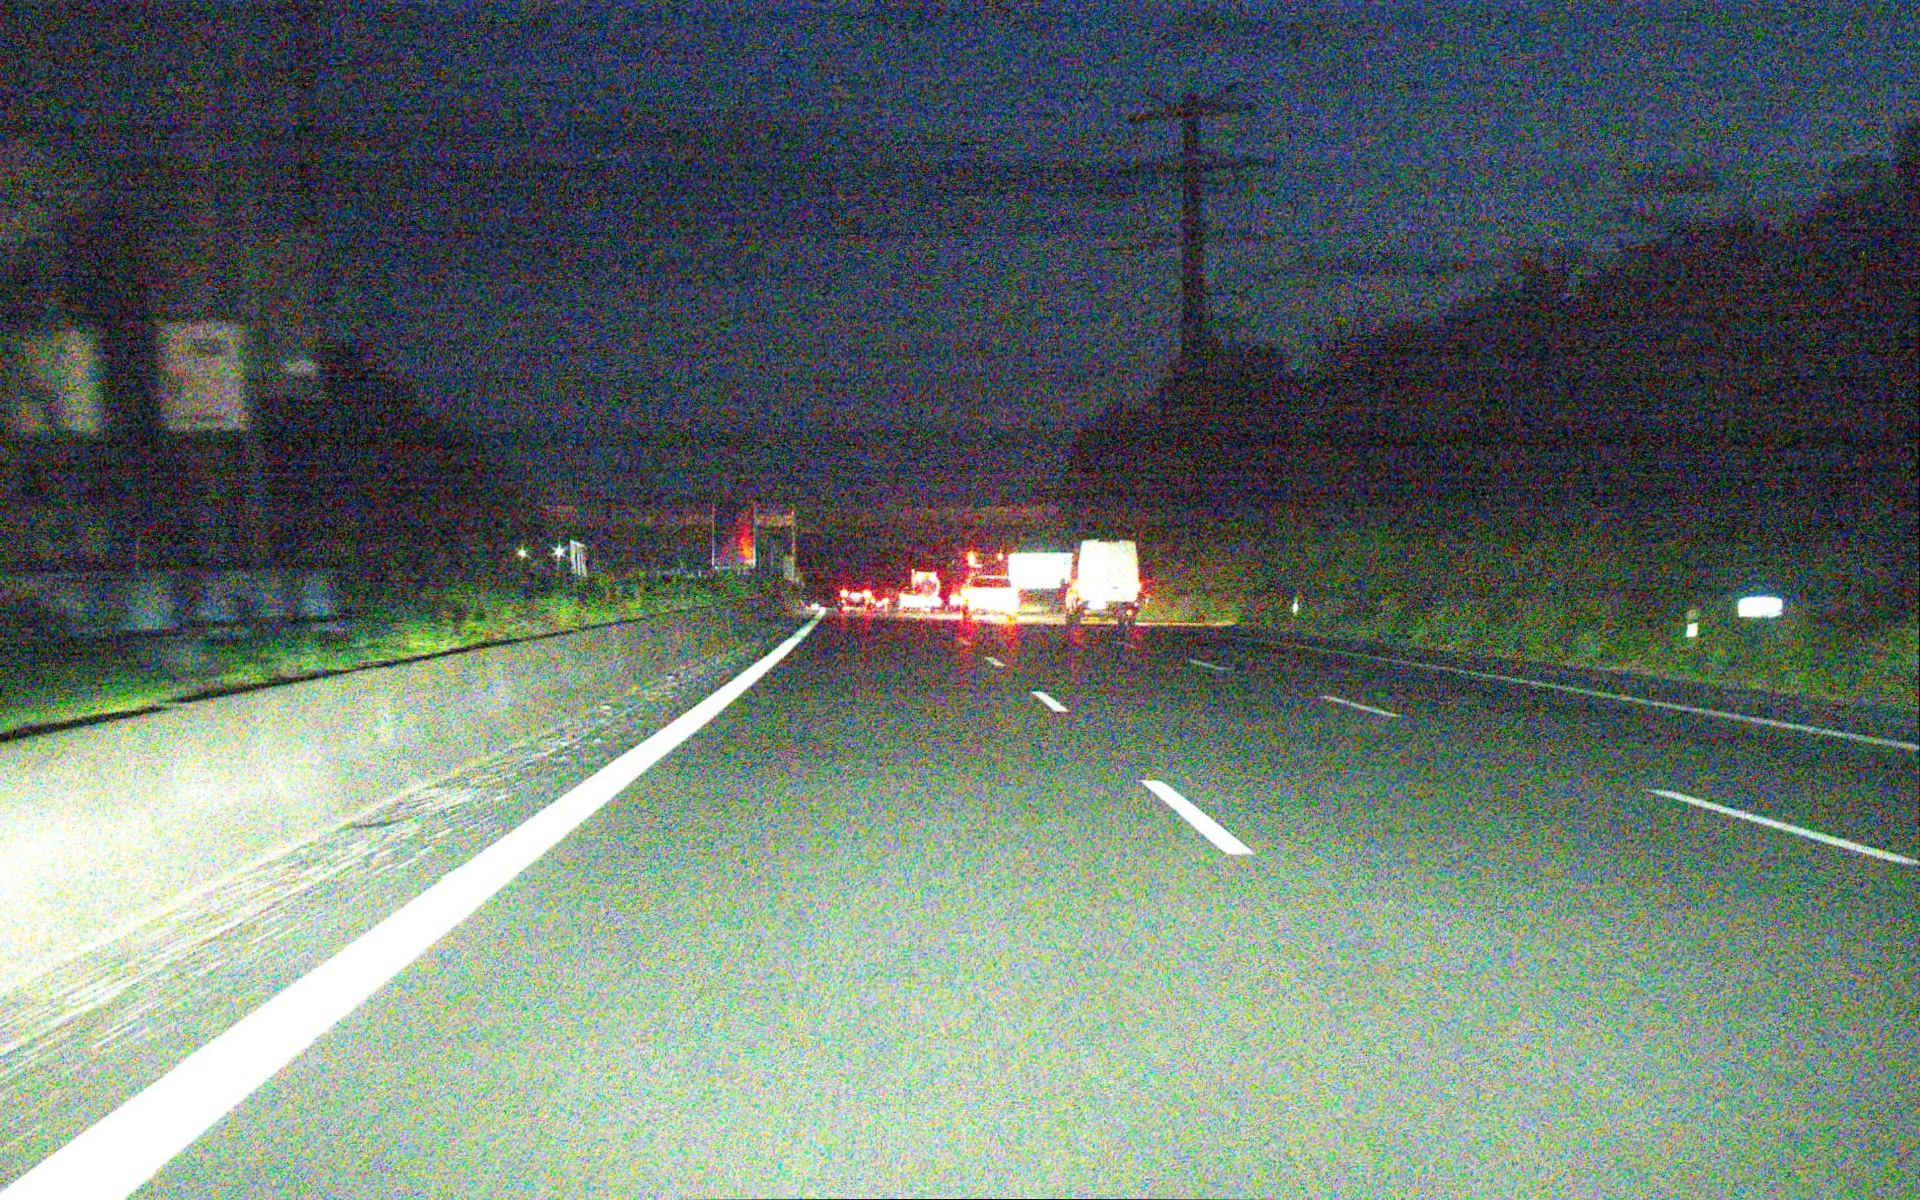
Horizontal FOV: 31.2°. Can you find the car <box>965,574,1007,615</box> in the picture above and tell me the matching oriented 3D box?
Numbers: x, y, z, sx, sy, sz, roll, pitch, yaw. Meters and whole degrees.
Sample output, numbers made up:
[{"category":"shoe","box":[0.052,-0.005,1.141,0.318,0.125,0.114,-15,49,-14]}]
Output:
[{"category":"car","box":[0.915,-0.214,122.357,1.346,1.382,3.502,2,1,-1]}]

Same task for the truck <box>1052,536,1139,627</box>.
[{"category":"truck","box":[4.335,-0.540,111.052,2.076,2.682,7.308,2,-2,-3]}]

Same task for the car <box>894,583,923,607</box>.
[{"category":"car","box":[-3.383,-0.337,225.494,1.821,1.461,4.248,2,1,-1]}]

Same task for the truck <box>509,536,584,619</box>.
[{"category":"truck","box":[-22.176,-1.286,185.194,3.113,4.188,16.982,-2,1,-4]}]

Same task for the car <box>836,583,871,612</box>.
[{"category":"car","box":[-5.774,-0.164,186.390,1.821,1.461,4.248,2,1,-1]}]

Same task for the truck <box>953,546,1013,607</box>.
[{"category":"truck","box":[1.292,-1.390,197.929,3.044,3.313,10.142,2,1,-1]}]
